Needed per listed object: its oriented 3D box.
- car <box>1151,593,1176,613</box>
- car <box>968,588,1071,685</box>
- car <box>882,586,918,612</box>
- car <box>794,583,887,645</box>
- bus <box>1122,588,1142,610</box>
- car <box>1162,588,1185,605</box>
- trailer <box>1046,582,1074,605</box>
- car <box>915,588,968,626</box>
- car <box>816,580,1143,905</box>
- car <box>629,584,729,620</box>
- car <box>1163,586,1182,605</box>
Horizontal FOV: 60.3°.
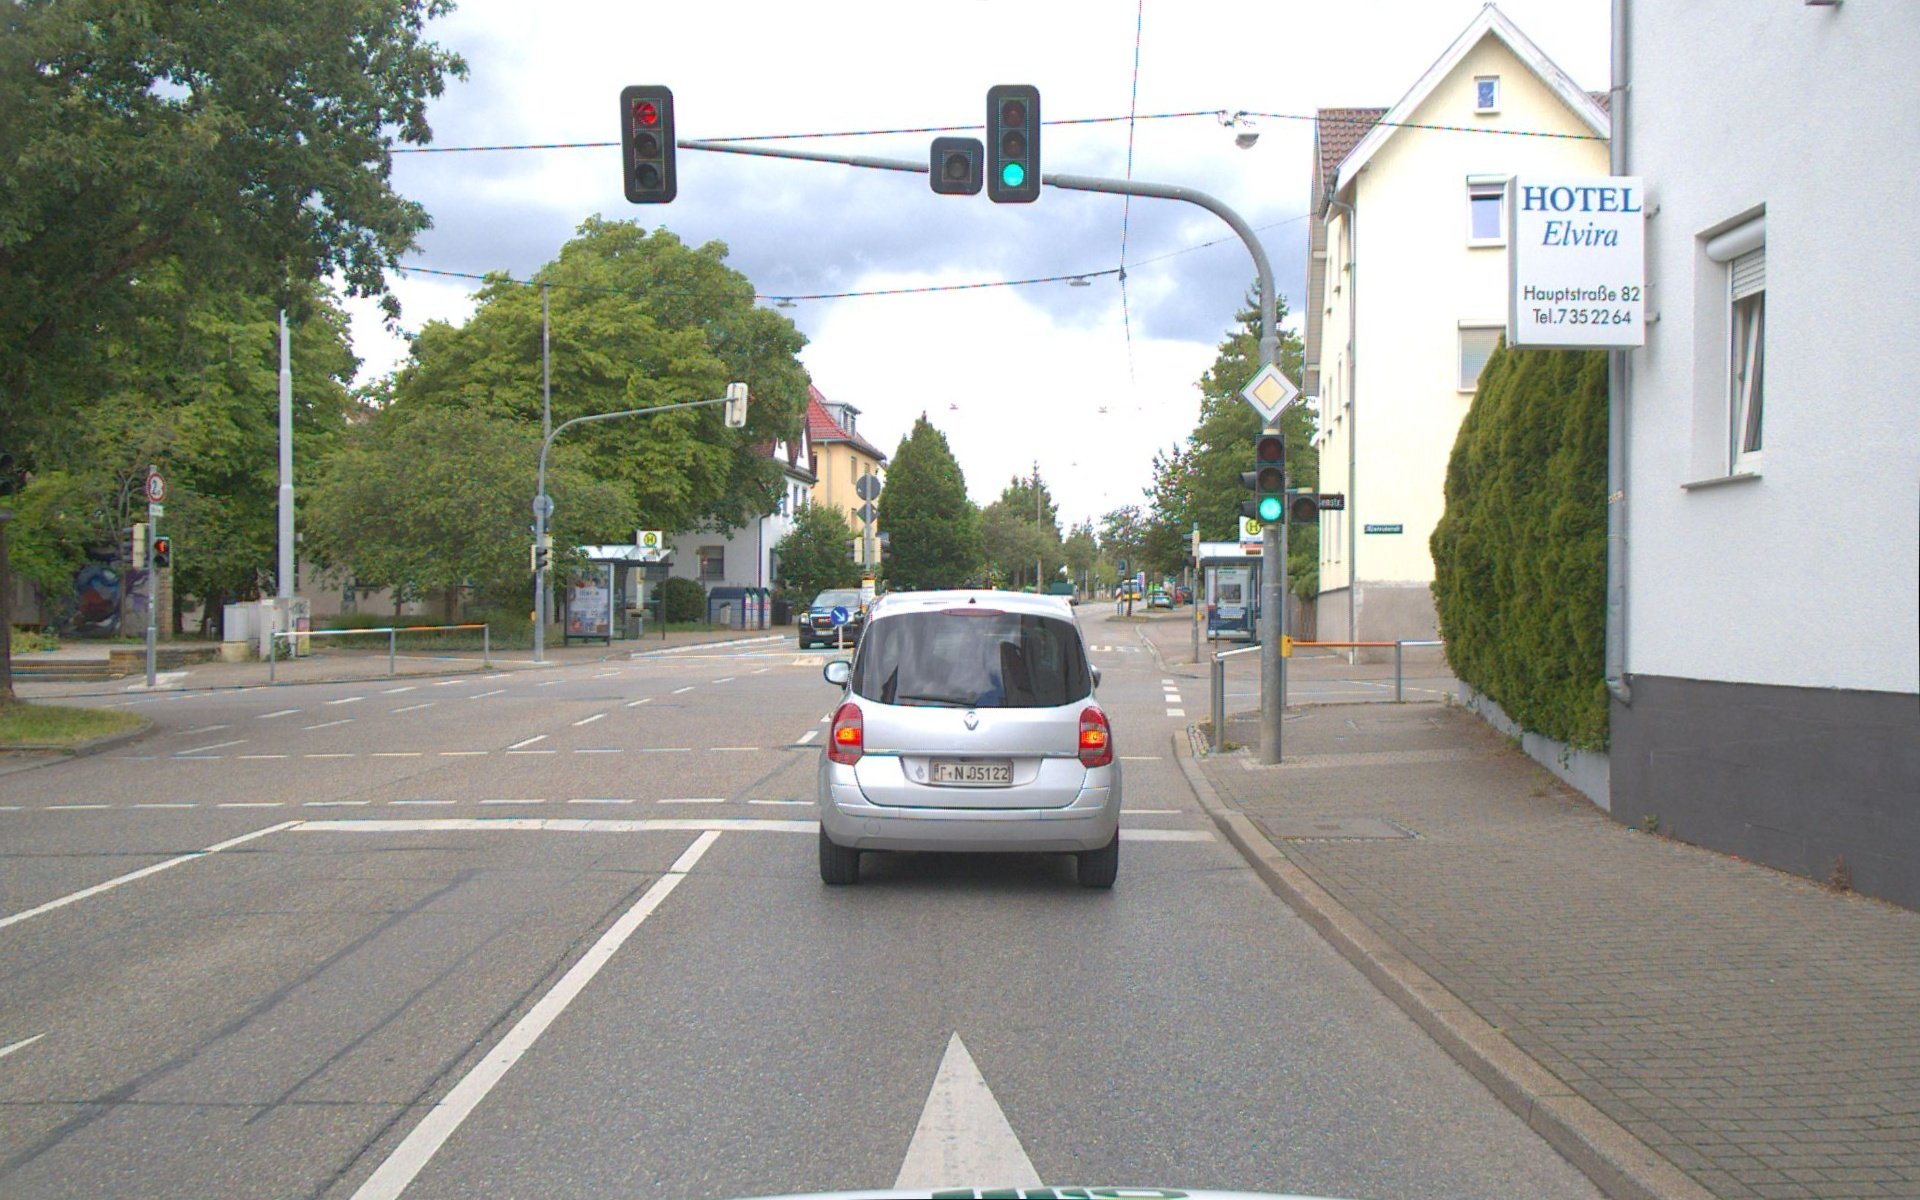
[{"bbox_3d":[14.605,0.228,118.728,1.615,1.406,4.003,0,-1,10],"label":"car"},{"bbox_3d":[1.122,0.643,30.812,1.791,1.705,3.575,0,0,2],"label":"car"},{"bbox_3d":[-3.972,-0.057,109.632,1.768,1.591,4.621,-2,0,5],"label":"car"},{"bbox_3d":[-3.421,0.427,48.164,1.720,1.663,4.598,-2,-1,8],"label":"car"},{"bbox_3d":[26.514,-0.169,254.491,2.576,3.140,12.079,-2,0,8],"label":"bus"},{"bbox_3d":[17.761,-0.284,137.484,1.627,1.417,3.671,0,0,11],"label":"car"},{"bbox_3d":[9.704,-0.599,159.805,2.263,2.123,5.877,1,-1,8],"label":"trailer"},{"bbox_3d":[-0.695,0.300,65.698,1.530,1.445,4.133,0,-1,8],"label":"car"},{"bbox_3d":[0.139,0.728,10.263,1.596,1.584,4.000,1,-1,1],"label":"car"},{"bbox_3d":[-12.087,0.095,71.293,3.902,1.355,1.723,-2,-1,7],"label":"car"},{"bbox_3d":[18.218,-0.368,141.932,1.627,1.591,4.102,0,0,7],"label":"car"}]
